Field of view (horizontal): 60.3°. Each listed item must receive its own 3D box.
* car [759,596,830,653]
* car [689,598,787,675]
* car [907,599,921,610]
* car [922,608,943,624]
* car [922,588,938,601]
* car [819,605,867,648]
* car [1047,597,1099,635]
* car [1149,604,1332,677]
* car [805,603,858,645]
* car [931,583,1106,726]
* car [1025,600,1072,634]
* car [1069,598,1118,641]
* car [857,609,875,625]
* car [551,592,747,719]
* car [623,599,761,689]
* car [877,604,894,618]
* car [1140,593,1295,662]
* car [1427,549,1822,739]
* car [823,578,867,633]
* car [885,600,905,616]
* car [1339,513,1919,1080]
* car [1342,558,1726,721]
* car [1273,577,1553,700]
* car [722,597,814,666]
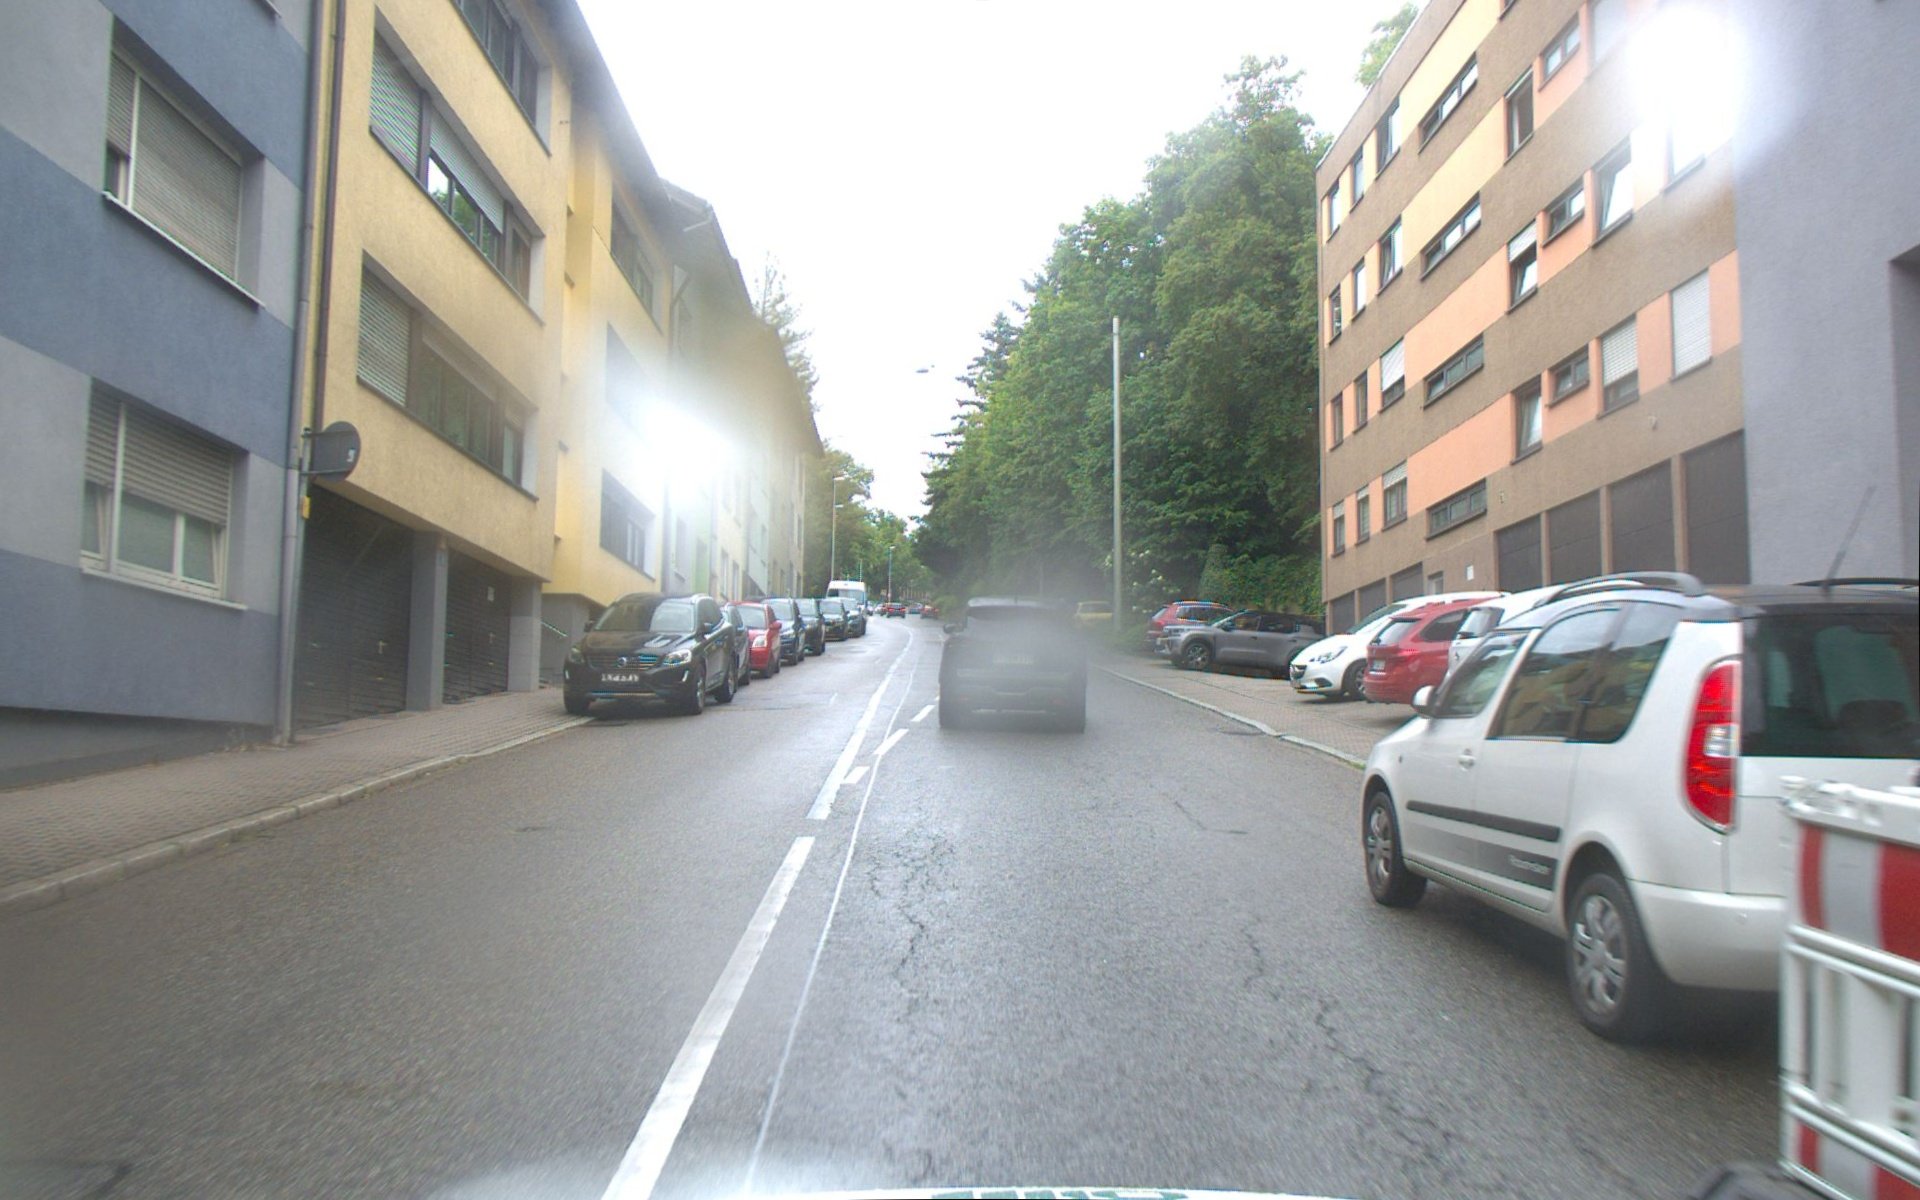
[{"bbox_3d":[-4.805,0.682,48.565,1.816,1.613,4.303,0,0,-2],"label":"car"},{"bbox_3d":[-4.568,0.716,34.441,1.694,1.498,3.489,0,0,-3],"label":"car"},{"bbox_3d":[-6.977,0.728,250.197,1.952,1.587,4.000,0,-2,1],"label":"car"},{"bbox_3d":[-2.973,1.695,177.068,2.034,1.587,3.996,1,0,-5],"label":"car"},{"bbox_3d":[-4.077,-0.751,223.982,1.952,1.587,4.000,0,-2,1],"label":"car"},{"bbox_3d":[-5.061,1.121,72.276,1.950,1.786,4.478,0,0,-2],"label":"car"},{"bbox_3d":[4.809,0.678,71.149,1.774,1.557,4.415,-1,0,-2],"label":"car"},{"bbox_3d":[6.912,0.985,40.973,4.115,1.522,1.759,3,0,-4],"label":"car"},{"bbox_3d":[-5.128,0.932,66.267,1.950,1.613,4.303,0,0,-2],"label":"car"},{"bbox_3d":[0.642,0.610,21.085,1.953,1.586,3.999,2,0,-1],"label":"car"},{"bbox_3d":[4.341,0.821,81.581,1.775,1.557,4.414,-1,0,-4],"label":"car"},{"bbox_3d":[5.151,0.751,64.193,1.599,1.557,4.000,2,0,1],"label":"car"},{"bbox_3d":[-10.612,1.905,186.109,1.954,1.586,3.998,2,0,-3],"label":"car"},{"bbox_3d":[-4.412,0.725,24.155,1.952,1.679,4.442,0,0,1],"label":"car"},{"bbox_3d":[-4.773,0.740,30.016,1.953,1.498,4.346,0,0,-2],"label":"car"},{"bbox_3d":[-8.906,1.320,197.522,2.033,1.587,3.998,1,0,-2],"label":"car"},{"bbox_3d":[7.519,0.796,48.549,4.117,1.765,1.758,3,0,-6],"label":"car"},{"bbox_3d":[7.594,0.478,19.122,3.751,1.731,1.727,-6,0,-3],"label":"car"},{"bbox_3d":[-5.457,0.252,79.091,1.950,2.518,5.781,0,0,-2],"label":"car"},{"bbox_3d":[-6.928,0.862,175.696,2.033,1.587,3.998,1,0,-3],"label":"car"},{"bbox_3d":[3.044,0.628,7.320,1.607,1.793,3.998,2,0,-3],"label":"car"},{"bbox_3d":[7.413,0.485,21.640,4.257,1.556,1.876,-7,0,-3],"label":"car"},{"bbox_3d":[7.197,0.596,26.470,3.886,1.556,1.690,-5,0,-6],"label":"car"},{"bbox_3d":[-4.727,0.736,41.268,1.953,1.613,4.469,0,0,-2],"label":"car"}]
